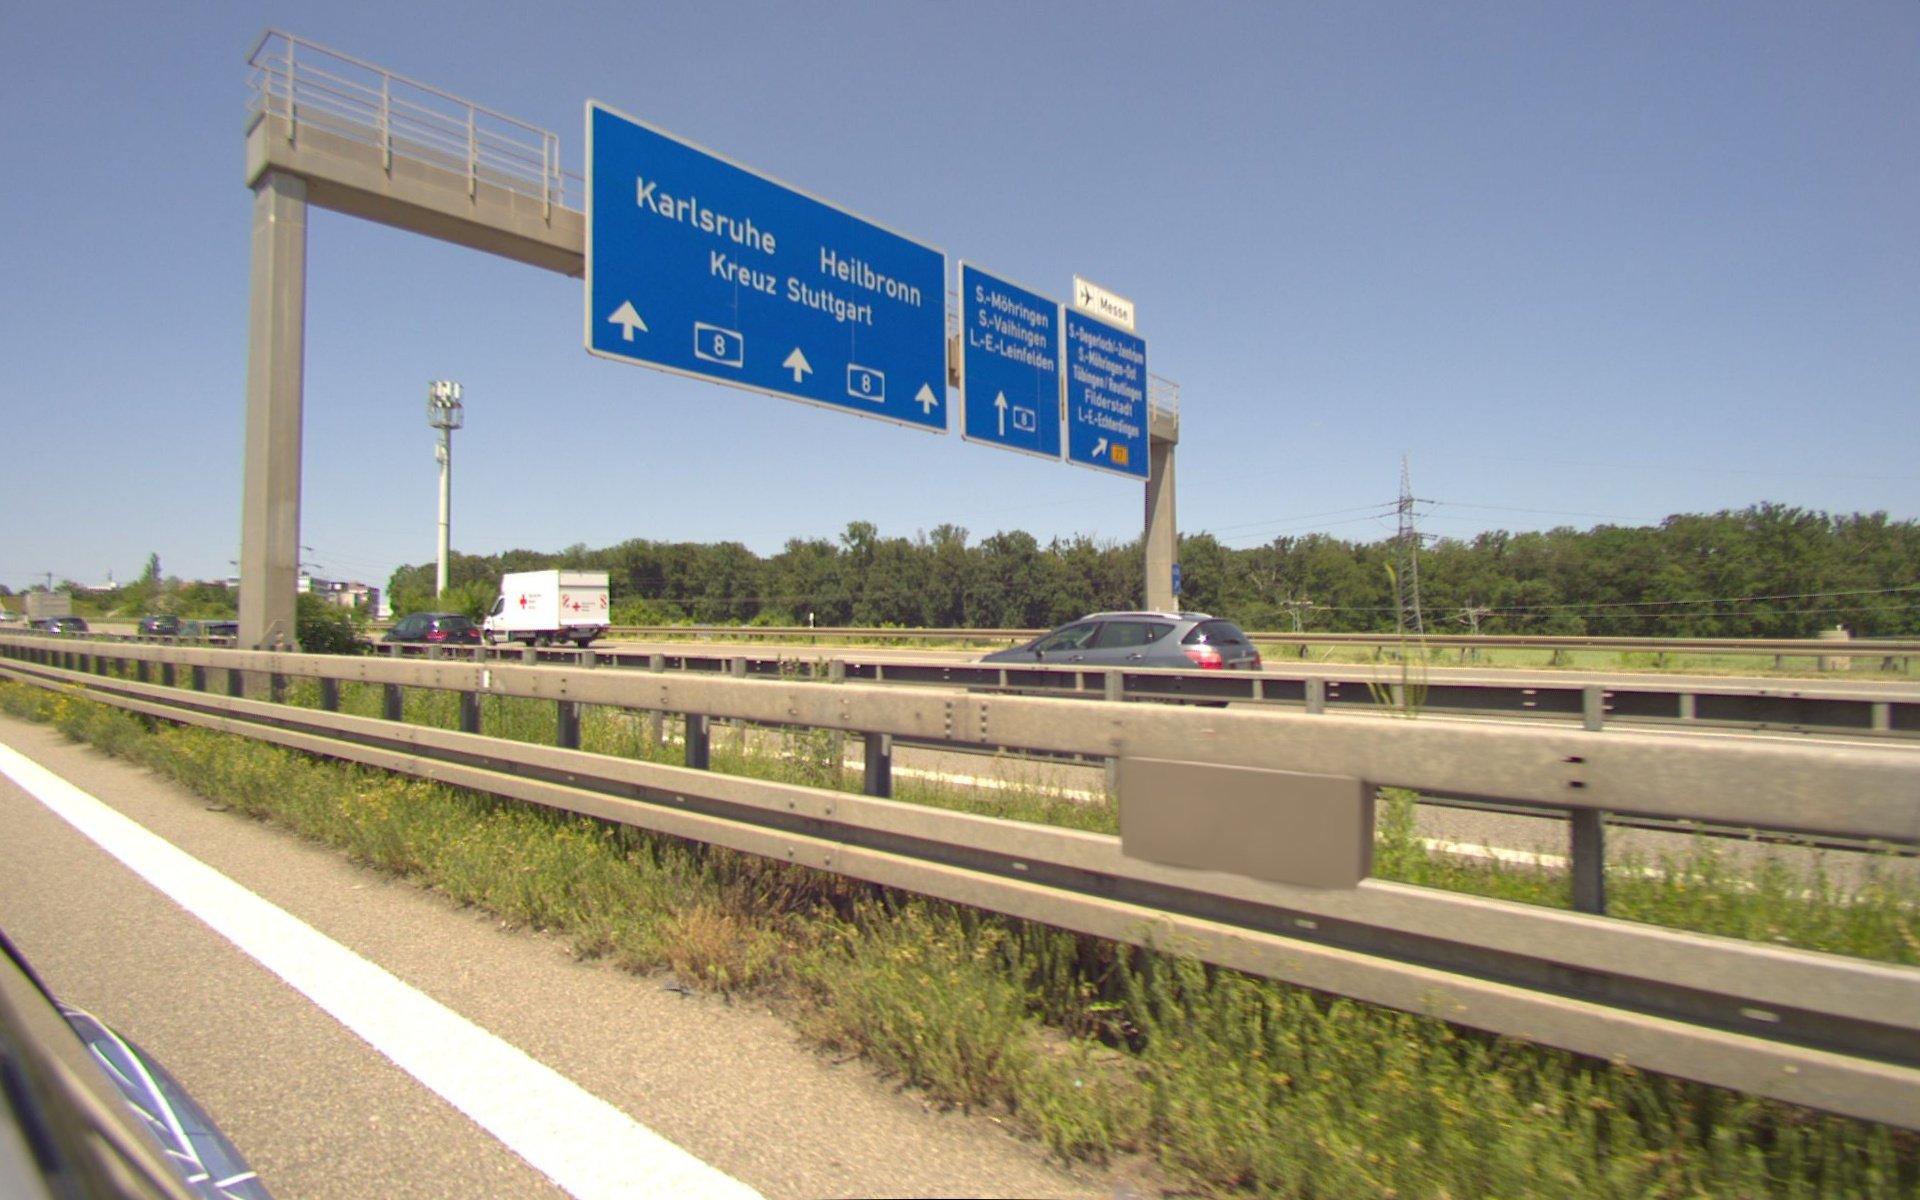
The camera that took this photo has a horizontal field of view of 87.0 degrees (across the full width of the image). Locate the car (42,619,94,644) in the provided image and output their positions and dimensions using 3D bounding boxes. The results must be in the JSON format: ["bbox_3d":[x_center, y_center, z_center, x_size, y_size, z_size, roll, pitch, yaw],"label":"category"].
[{"bbox_3d":[-55.533,1.970,62.985,4.855,1.475,1.772,-1,-1,40],"label":"car"}]

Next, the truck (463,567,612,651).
[{"bbox_3d":[-17.584,0.422,41.782,8.107,3.191,2.296,-1,-1,41],"label":"truck"}]

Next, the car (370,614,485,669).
[{"bbox_3d":[-16.213,1.221,30.732,3.997,1.573,1.725,-1,-1,40],"label":"car"}]

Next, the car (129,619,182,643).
[{"bbox_3d":[-50.471,1.932,63.478,3.997,1.431,1.886,-1,-1,40],"label":"car"}]

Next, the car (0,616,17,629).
[{"bbox_3d":[-120.077,2.821,126.848,4.366,1.543,2.085,-1,0,38],"label":"car"}]

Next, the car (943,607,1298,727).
[{"bbox_3d":[2.220,0.899,15.114,5.098,1.520,1.725,-1,-1,40],"label":"car"}]

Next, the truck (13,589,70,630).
[{"bbox_3d":[-76.411,0.790,84.146,7.651,3.302,2.353,0,0,38],"label":"truck"}]
